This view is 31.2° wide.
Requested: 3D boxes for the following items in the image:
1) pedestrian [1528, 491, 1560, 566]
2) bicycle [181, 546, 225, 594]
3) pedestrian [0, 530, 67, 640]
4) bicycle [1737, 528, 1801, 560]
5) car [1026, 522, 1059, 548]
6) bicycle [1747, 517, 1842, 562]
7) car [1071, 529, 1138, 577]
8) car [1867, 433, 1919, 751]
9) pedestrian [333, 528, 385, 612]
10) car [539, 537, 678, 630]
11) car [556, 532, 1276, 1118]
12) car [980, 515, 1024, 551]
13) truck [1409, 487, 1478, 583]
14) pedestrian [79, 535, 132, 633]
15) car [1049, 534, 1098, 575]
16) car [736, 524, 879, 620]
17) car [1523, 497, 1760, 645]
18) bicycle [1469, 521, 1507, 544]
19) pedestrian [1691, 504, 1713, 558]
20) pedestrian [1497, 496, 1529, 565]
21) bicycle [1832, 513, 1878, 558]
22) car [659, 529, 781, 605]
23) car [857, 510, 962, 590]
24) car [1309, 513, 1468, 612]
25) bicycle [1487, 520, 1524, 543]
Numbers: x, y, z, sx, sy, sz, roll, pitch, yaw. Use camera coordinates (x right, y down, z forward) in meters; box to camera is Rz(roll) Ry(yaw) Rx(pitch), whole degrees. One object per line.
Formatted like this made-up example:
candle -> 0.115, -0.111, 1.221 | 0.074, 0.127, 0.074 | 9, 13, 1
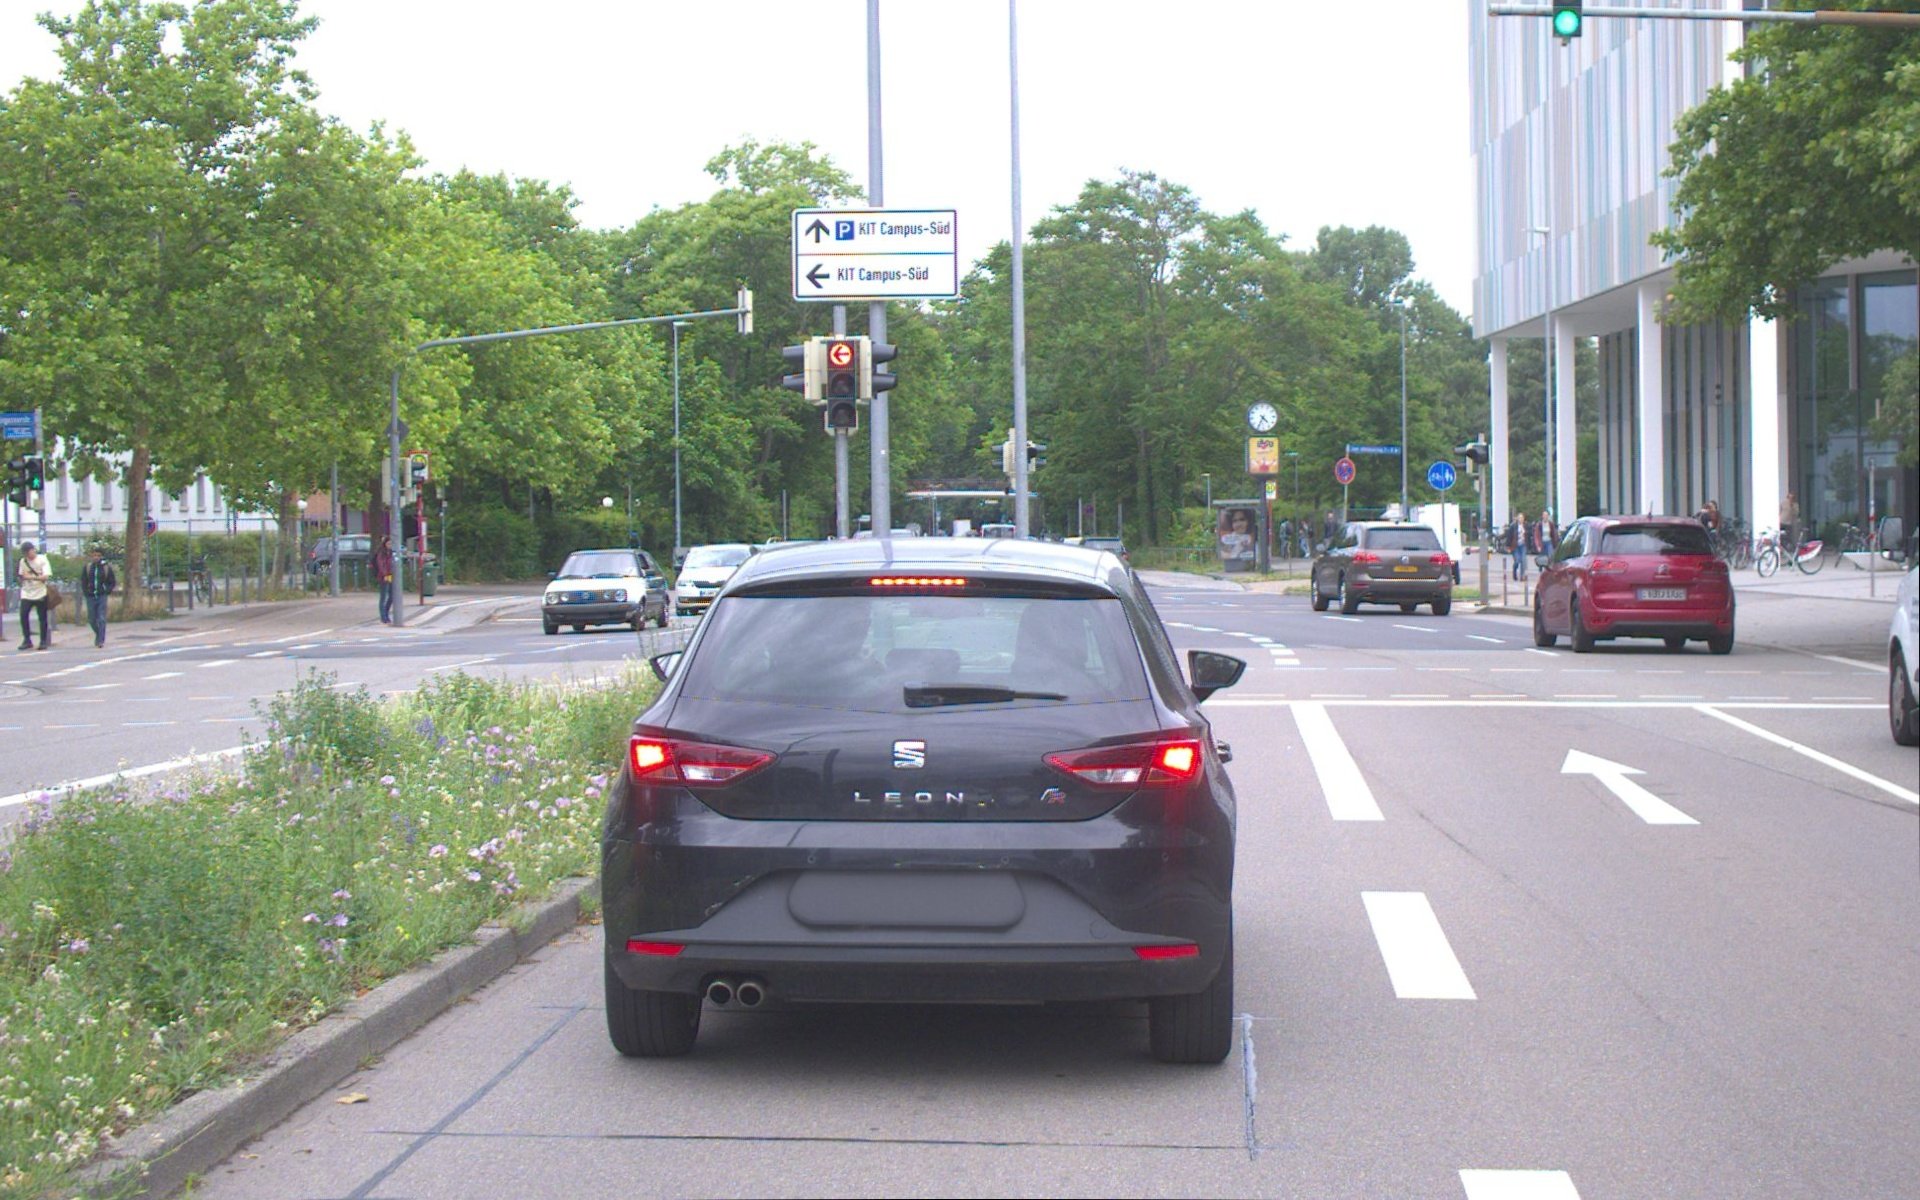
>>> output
pedestrian -> 13.973, -1.704, 82.225 | 0.687, 1.774, 0.677 | 0, 2, 4
bicycle -> -17.845, -0.709, 81.093 | 0.607, 1.056, 2.045 | -2, 2, -2
pedestrian -> -15.217, -0.243, 56.417 | 0.840, 1.734, 0.830 | -1, -3, -31
bicycle -> 20.725, -1.439, 88.099 | 1.479, 0.746, 0.566 | -2, 2, 1
car -> 3.942, -3.139, 165.429 | 1.505, 1.189, 3.163 | -2, 2, 1
bicycle -> 18.147, -1.325, 74.777 | 1.885, 0.895, 0.697 | -3, 2, -16
car -> 4.474, -1.485, 106.757 | 1.899, 1.349, 3.883 | -2, 2, 1
car -> 6.879, -0.017, 20.494 | 1.966, 1.965, 4.344 | 1, 2, 3
pedestrian -> -11.690, -0.591, 66.884 | 0.874, 1.580, 0.543 | -2, 2, -2
car -> -5.812, -0.297, 57.236 | 1.608, 1.376, 3.808 | -2, 2, 4
car -> 0.049, 0.528, 10.607 | 1.753, 1.427, 3.768 | 1, 2, 6
car -> 1.864, -3.022, 153.671 | 1.695, 1.498, 4.010 | -2, 2, -2
truck -> 11.705, -1.591, 83.362 | 1.318, 2.235, 3.401 | -2, 2, 4
pedestrian -> -13.986, -0.260, 56.245 | 0.789, 1.553, 0.699 | -1, -2, -16
car -> 4.080, -1.666, 124.086 | 1.616, 1.349, 4.000 | -2, 2, 1
car -> -2.489, -0.481, 57.223 | 1.764, 1.455, 4.791 | -3, 1, 4
car -> 7.946, -0.377, 40.433 | 1.949, 1.618, 3.749 | 0, 2, -1
bicycle -> 19.590, -2.505, 127.566 | 1.258, 0.845, 0.482 | 1, 0, -18
pedestrian -> 18.842, -1.752, 87.280 | 0.472, 1.357, 0.445 | -2, 2, 14
pedestrian -> 13.228, -1.657, 82.178 | 0.687, 1.634, 0.633 | 0, 2, 4
bicycle -> 22.259, -1.611, 85.463 | 0.621, 1.042, 1.703 | -1, 2, 31
car -> -5.002, -0.722, 72.136 | 1.705, 1.426, 4.226 | -2, 2, 7
car -> -1.111, -1.136, 77.607 | 1.921, 1.658, 4.398 | -3, 1, 4
car -> 7.724, -0.711, 62.294 | 1.914, 1.658, 4.115 | -3, 2, -6
bicycle -> 19.909, -2.498, 125.454 | 1.234, 0.820, 0.482 | 1, 0, -17
